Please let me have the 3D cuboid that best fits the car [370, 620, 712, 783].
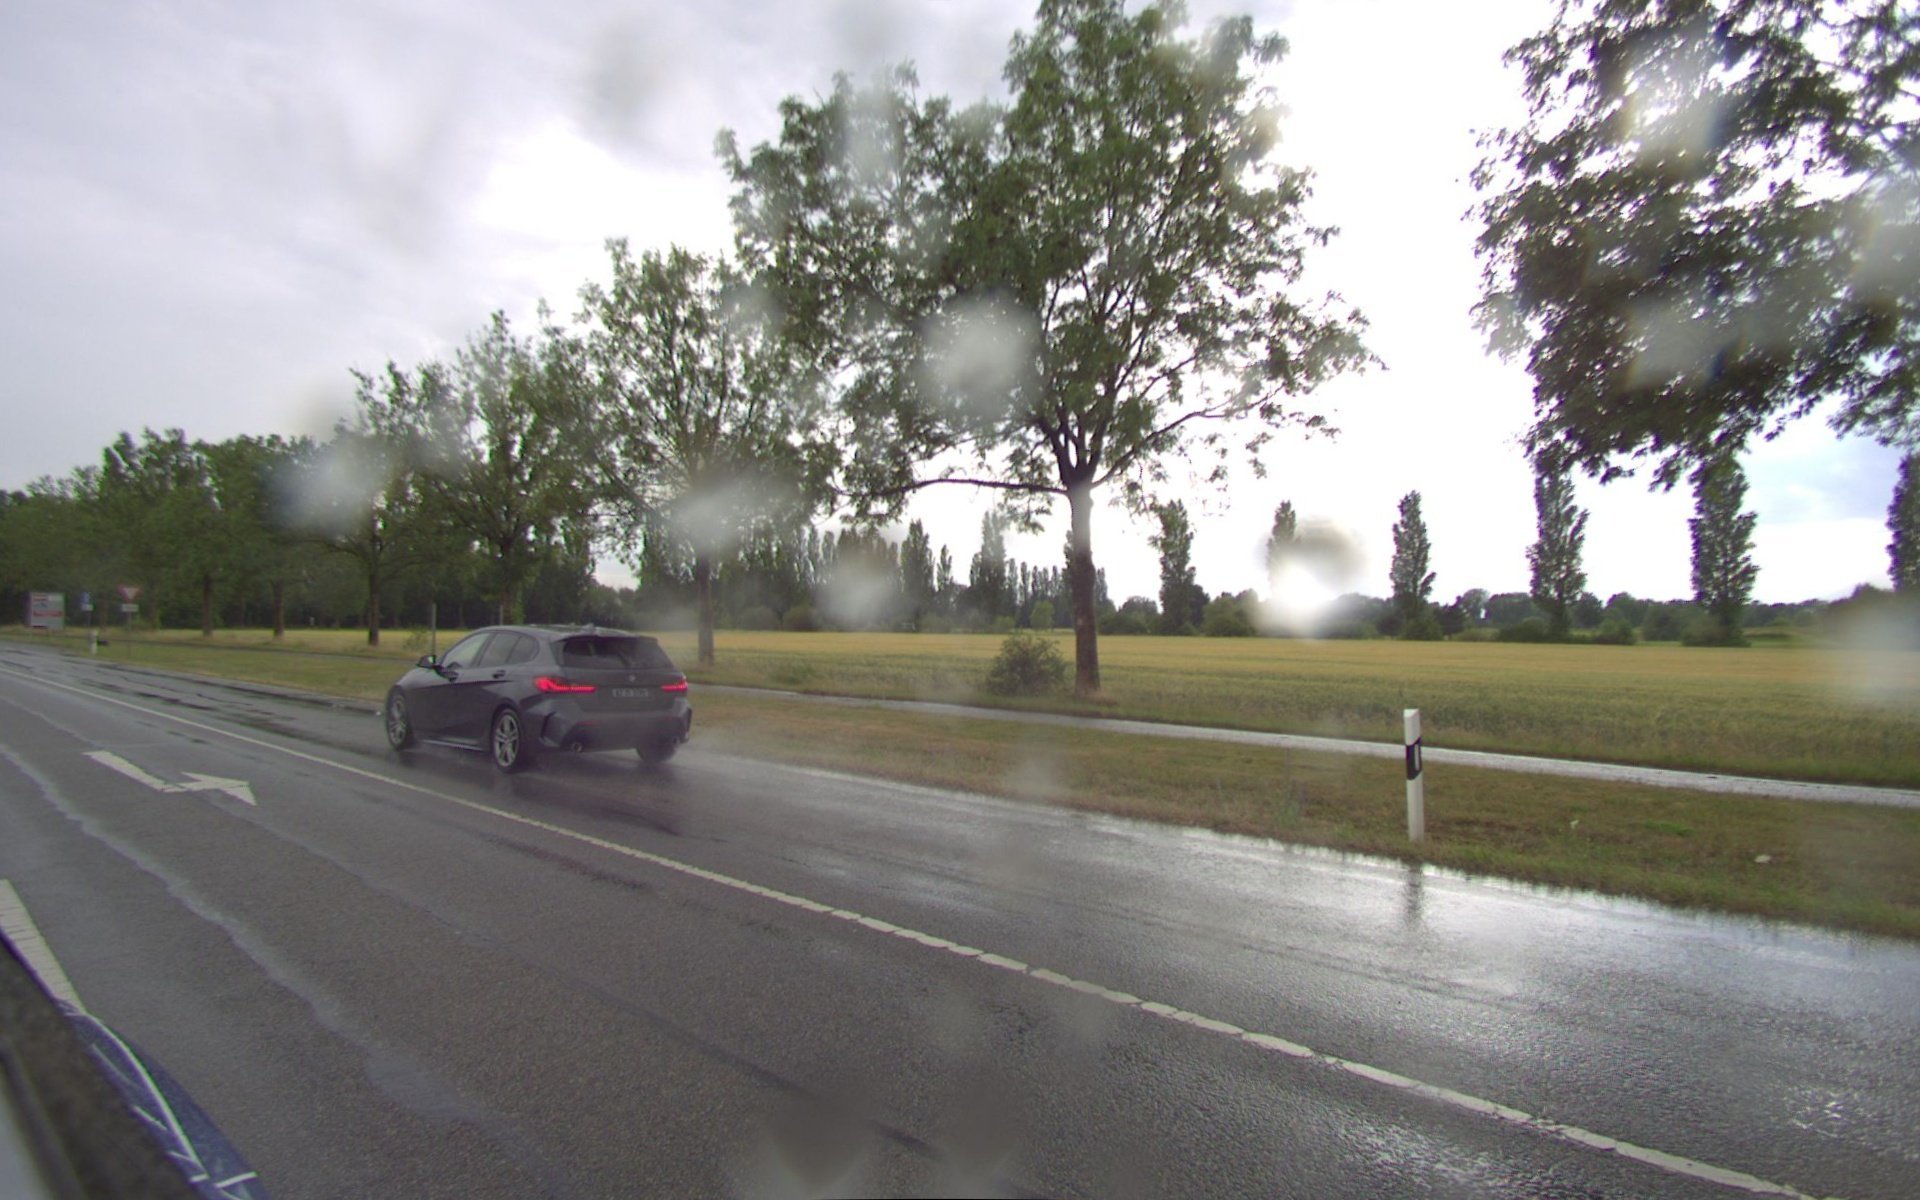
[{"bbox_3d":[-4.598,0.961,10.840,4.041,1.415,1.702,-1,-4,41],"label":"car"}]
